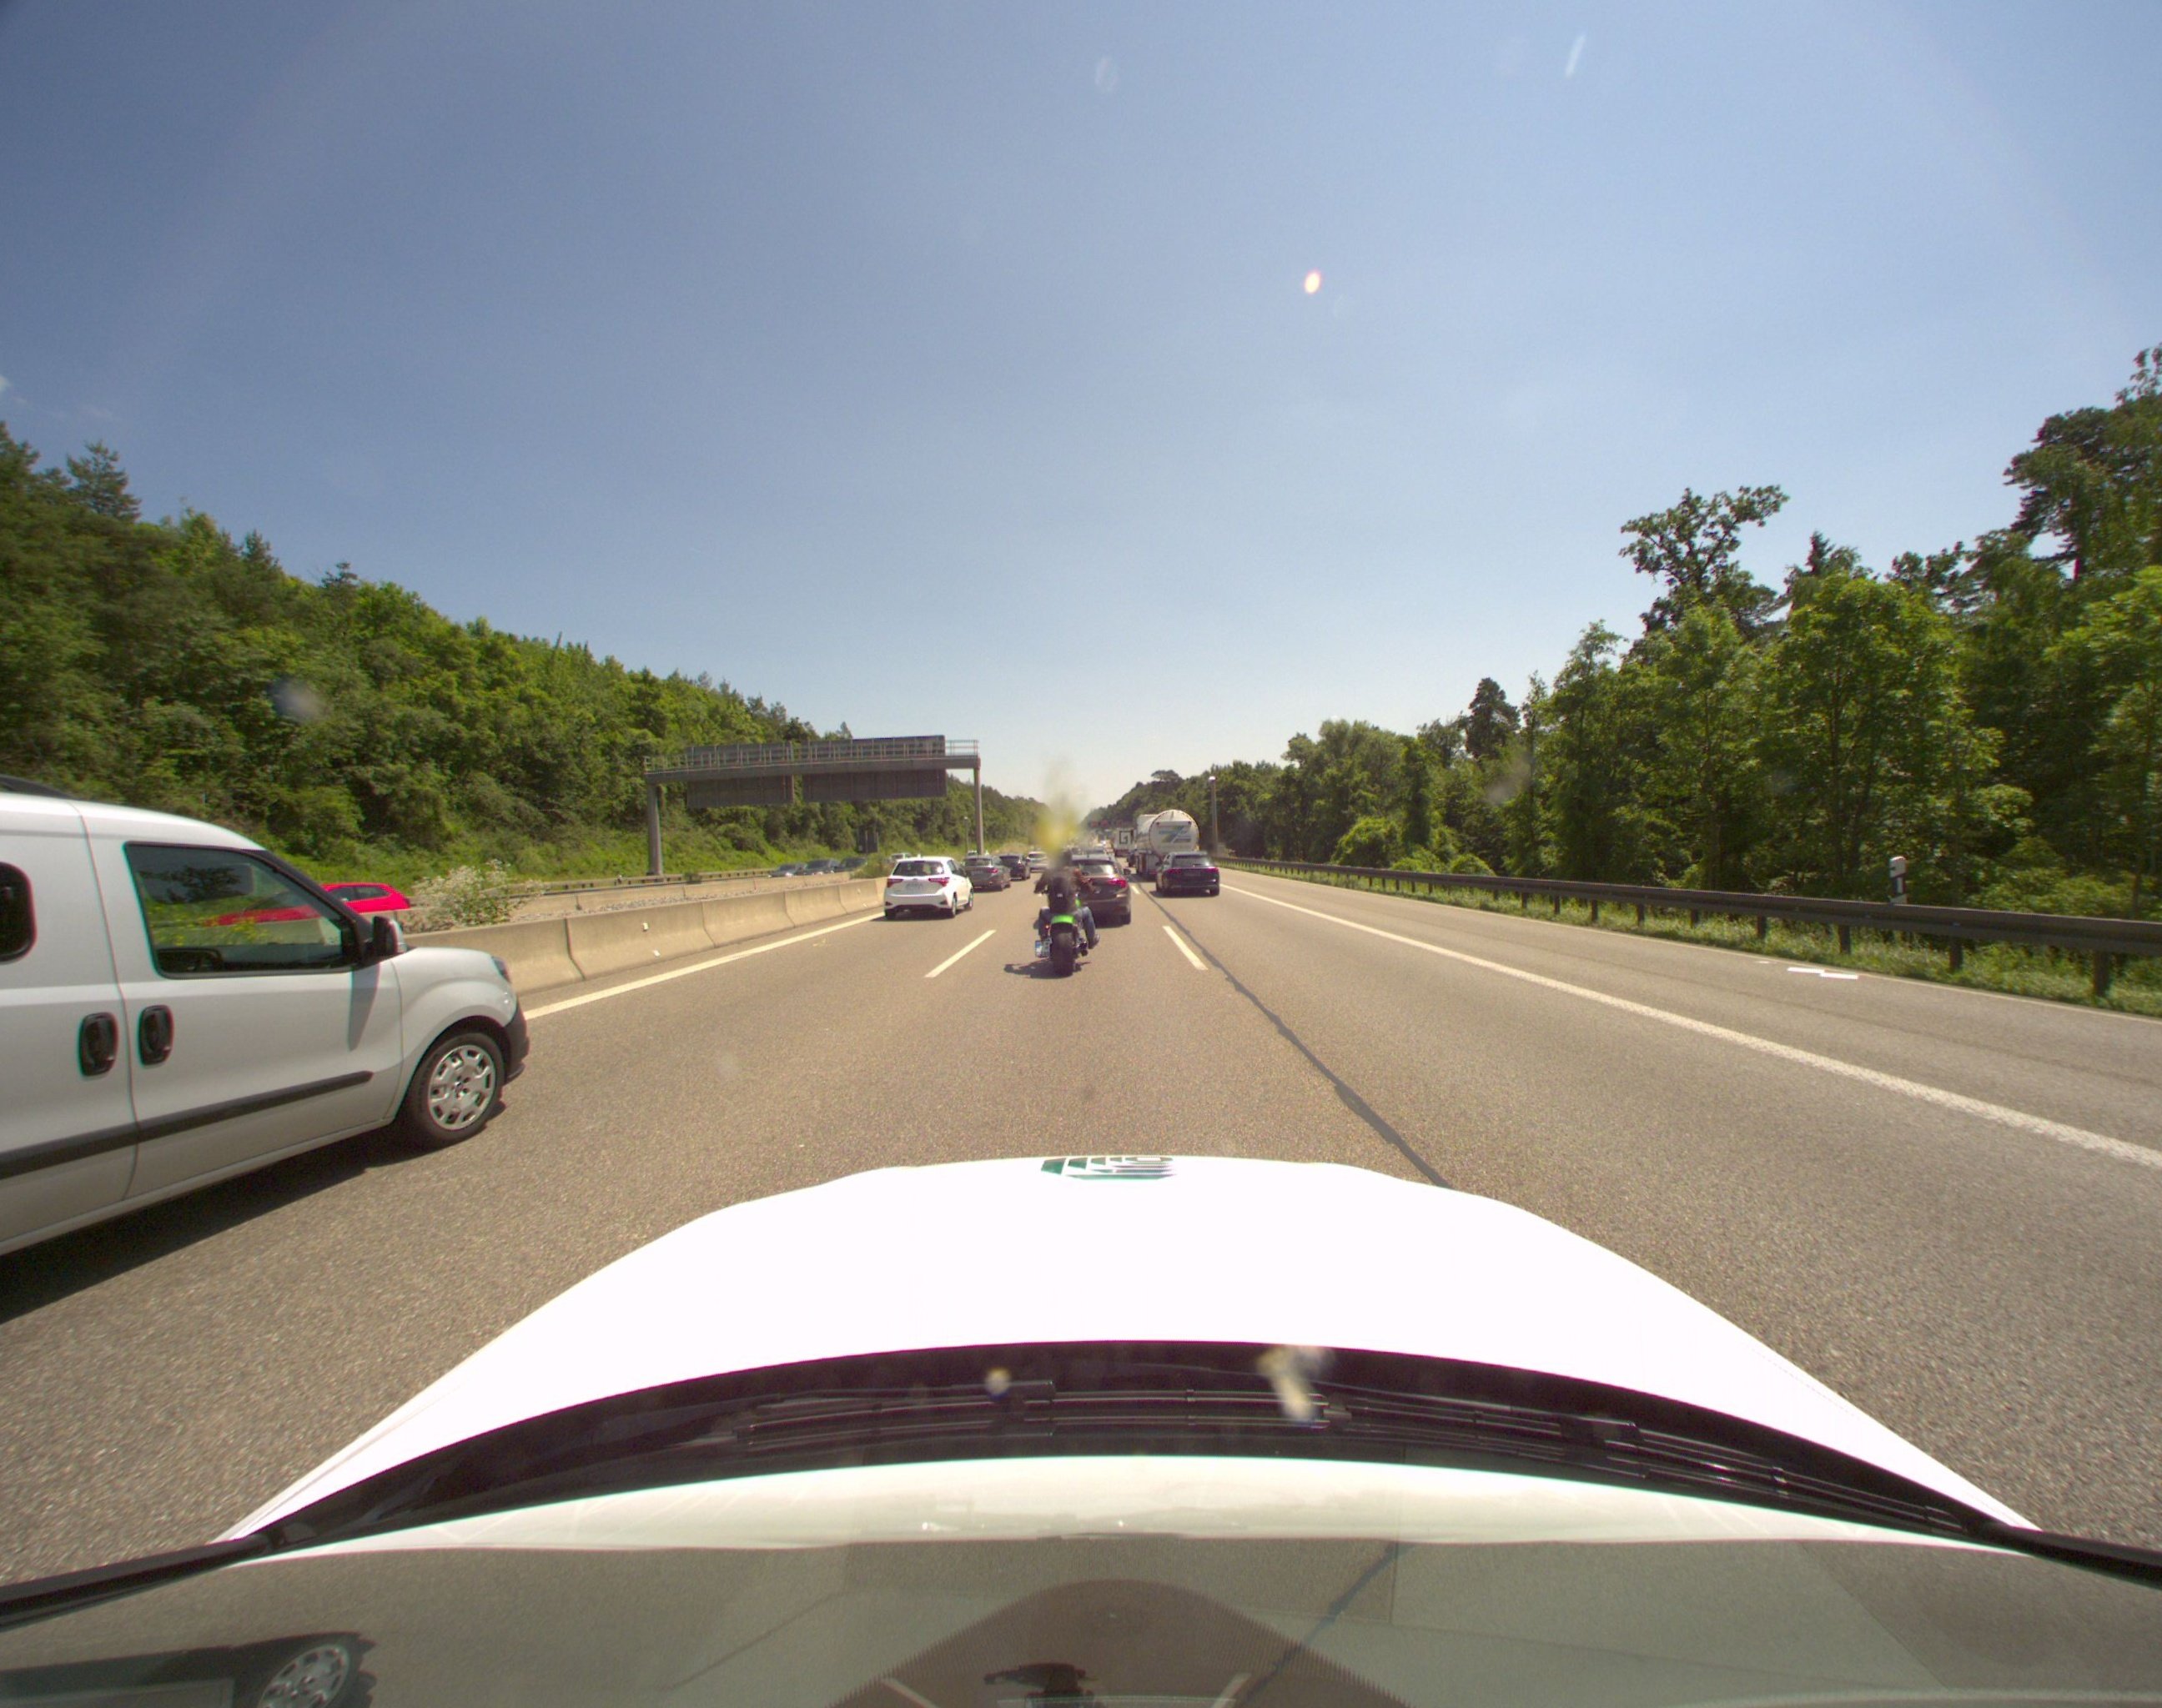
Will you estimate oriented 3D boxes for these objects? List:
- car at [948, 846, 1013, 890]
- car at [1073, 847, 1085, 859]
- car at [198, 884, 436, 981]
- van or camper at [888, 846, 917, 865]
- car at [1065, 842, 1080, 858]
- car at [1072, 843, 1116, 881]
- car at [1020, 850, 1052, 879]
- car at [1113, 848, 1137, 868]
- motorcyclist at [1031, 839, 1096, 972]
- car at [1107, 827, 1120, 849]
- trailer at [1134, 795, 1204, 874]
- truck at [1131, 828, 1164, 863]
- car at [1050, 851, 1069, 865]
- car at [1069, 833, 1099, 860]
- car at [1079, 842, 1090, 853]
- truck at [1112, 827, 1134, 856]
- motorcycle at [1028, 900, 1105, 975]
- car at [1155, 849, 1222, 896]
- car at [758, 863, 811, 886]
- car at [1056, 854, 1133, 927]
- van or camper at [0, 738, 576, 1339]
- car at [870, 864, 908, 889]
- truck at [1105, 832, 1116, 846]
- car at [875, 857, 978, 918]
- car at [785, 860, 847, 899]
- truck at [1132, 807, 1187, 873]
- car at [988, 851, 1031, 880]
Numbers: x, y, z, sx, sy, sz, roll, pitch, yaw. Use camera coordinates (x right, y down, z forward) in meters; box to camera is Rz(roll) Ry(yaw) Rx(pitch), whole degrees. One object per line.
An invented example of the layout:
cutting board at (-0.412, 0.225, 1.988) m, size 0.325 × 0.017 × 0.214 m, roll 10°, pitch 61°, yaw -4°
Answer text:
car at (-4.046, 0.568, 33.486) m, size 1.986 × 1.684 × 4.331 m, roll -1°, pitch -1°, yaw 1°
car at (-0.331, -0.139, 121.849) m, size 1.654 × 1.599 × 4.002 m, roll -1°, pitch -1°, yaw 2°
car at (-18.394, 1.792, 19.922) m, size 1.987 × 2.014 × 4.000 m, roll -1°, pitch -1°, yaw 0°
van or camper at (-20.029, 0.238, 91.424) m, size 1.986 × 2.014 × 4.682 m, roll -1°, pitch -1°, yaw 2°
car at (-1.066, -0.536, 106.503) m, size 1.654 × 1.978 × 4.002 m, roll -1°, pitch -1°, yaw 2°
car at (0.608, 0.396, 38.733) m, size 1.987 × 1.711 × 4.000 m, roll -1°, pitch -1°, yaw 1°
car at (-3.222, 0.748, 58.865) m, size 1.986 × 2.014 × 4.000 m, roll -1°, pitch -1°, yaw 1°
car at (3.594, 0.336, 67.006) m, size 1.769 × 1.527 × 4.001 m, roll -1°, pitch -1°, yaw 1°
motorcyclist at (-0.220, 0.662, 10.892) m, size 0.796 × 1.688 × 1.017 m, roll -1°, pitch -1°, yaw 1°
car at (6.040, -2.911, 152.468) m, size 2.159 × 3.893 × 9.332 m, roll -1°, pitch -1°, yaw 2°
trailer at (4.446, -0.840, 43.447) m, size 2.817 × 3.671 × 10.735 m, roll -1°, pitch -1°, yaw 1°
truck at (6.058, -0.723, 74.991) m, size 2.380 × 2.979 × 8.252 m, roll -1°, pitch 0°, yaw 0°
car at (-2.360, 0.449, 90.005) m, size 1.757 × 1.442 × 4.001 m, roll -1°, pitch -1°, yaw 2°
car at (0.233, -0.498, 57.963) m, size 1.987 × 1.775 × 4.000 m, roll -1°, pitch -1°, yaw 1°
car at (0.720, -1.336, 169.758) m, size 1.986 × 2.013 × 4.001 m, roll -2°, pitch 0°, yaw 1°
truck at (6.034, -1.669, 115.409) m, size 2.841 × 3.821 × 7.195 m, roll -1°, pitch -1°, yaw 4°
motorcycle at (-0.146, 1.091, 11.137) m, size 0.932 × 0.793 × 2.299 m, roll -1°, pitch 0°, yaw 1°
car at (3.606, 0.611, 28.076) m, size 1.785 × 1.458 × 4.625 m, roll -1°, pitch -1°, yaw 1°
car at (-20.194, 1.382, 55.664) m, size 1.986 × 1.447 × 4.002 m, roll -1°, pitch -1°, yaw 2°
car at (0.322, 0.730, 18.334) m, size 1.535 × 1.450 × 4.001 m, roll -1°, pitch 0°, yaw 1°
van or camper at (-4.295, 0.585, 3.009) m, size 1.846 × 1.880 × 4.564 m, roll -1°, pitch 0°, yaw 2°
car at (-16.235, 1.872, 69.038) m, size 1.986 × 2.014 × 4.284 m, roll -1°, pitch -1°, yaw 2°
truck at (7.484, -3.799, 209.992) m, size 2.686 × 3.405 × 10.481 m, roll -2°, pitch 0°, yaw 1°
car at (-3.846, 0.810, 20.919) m, size 1.769 × 1.411 × 4.001 m, roll -1°, pitch -1°, yaw 1°
car at (-14.408, 1.377, 44.466) m, size 1.947 × 2.014 × 4.002 m, roll -1°, pitch -1°, yaw 2°
truck at (4.601, -0.734, 49.025) m, size 2.817 × 3.671 × 6.431 m, roll -1°, pitch -1°, yaw 1°
car at (-3.795, 0.630, 43.890) m, size 1.988 × 1.464 × 3.997 m, roll -1°, pitch -1°, yaw -1°
